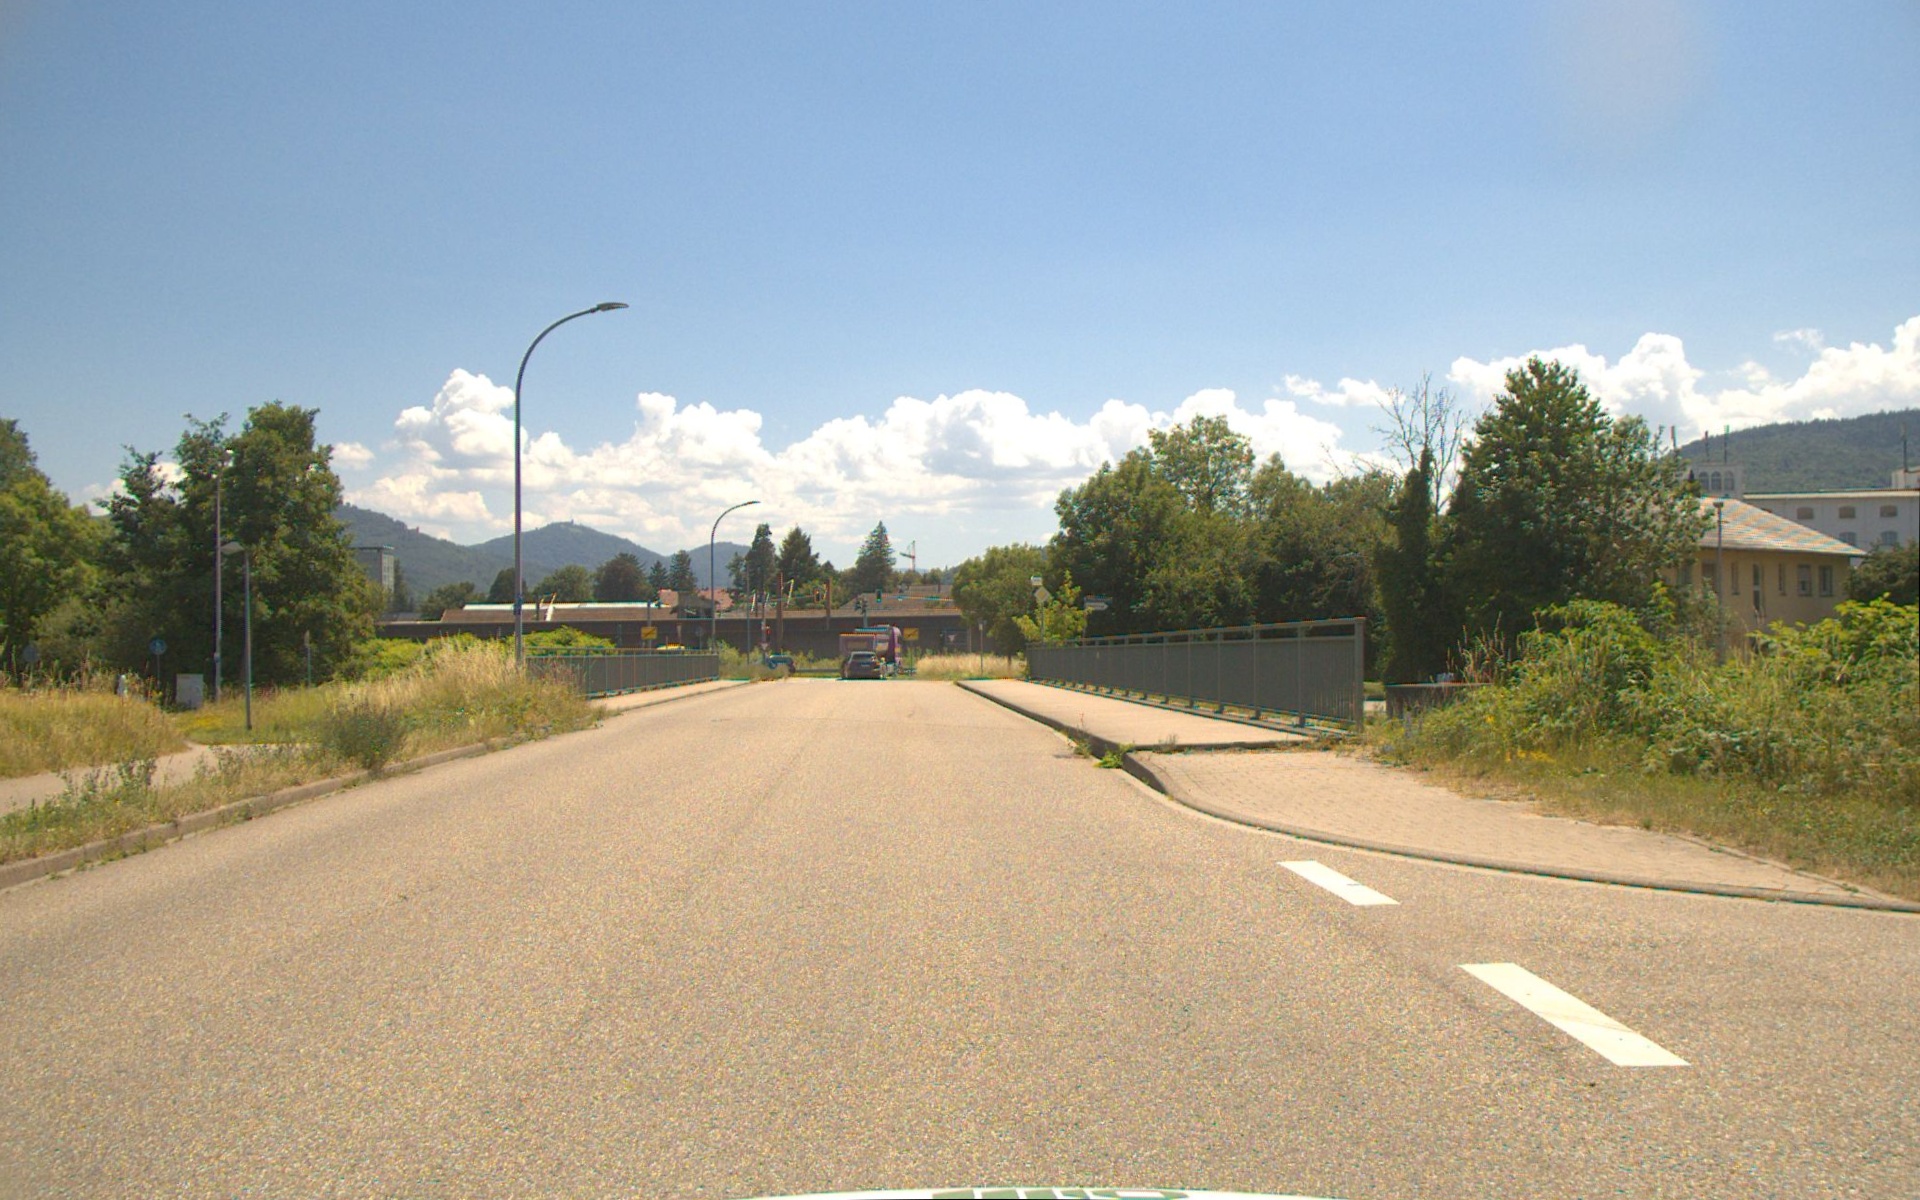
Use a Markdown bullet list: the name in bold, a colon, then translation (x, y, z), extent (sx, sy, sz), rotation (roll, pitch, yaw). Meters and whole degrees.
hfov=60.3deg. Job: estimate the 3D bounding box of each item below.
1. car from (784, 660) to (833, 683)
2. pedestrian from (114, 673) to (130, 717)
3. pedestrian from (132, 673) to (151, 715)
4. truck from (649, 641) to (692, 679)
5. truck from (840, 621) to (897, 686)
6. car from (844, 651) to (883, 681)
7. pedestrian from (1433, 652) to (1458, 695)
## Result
- **car**: translation (-12.529, 5.904, 136.996), extent (3.906, 1.732, 1.908), rotation (-1, 2, -2)
- **pedestrian**: translation (-33.342, 3.777, 65.808), extent (0.506, 1.703, 0.624), rotation (2, -3, -25)
- **pedestrian**: translation (-33.061, 3.796, 66.820), extent (0.618, 1.703, 0.593), rotation (2, -3, -24)
- **truck**: translation (-20.156, 4.200, 114.949), extent (2.272, 2.378, 9.016), rotation (-2, -2, -14)
- **truck**: translation (-6.297, 3.793, 115.531), extent (2.933, 4.254, 11.808), rotation (0, -2, 2)
- **car**: translation (-5.217, 3.525, 89.333), extent (1.955, 1.529, 3.995), rotation (1, -1, -5)
- **pedestrian**: translation (16.983, 2.568, 57.839), extent (0.666, 1.417, 0.851), rotation (-3, 1, 9)
